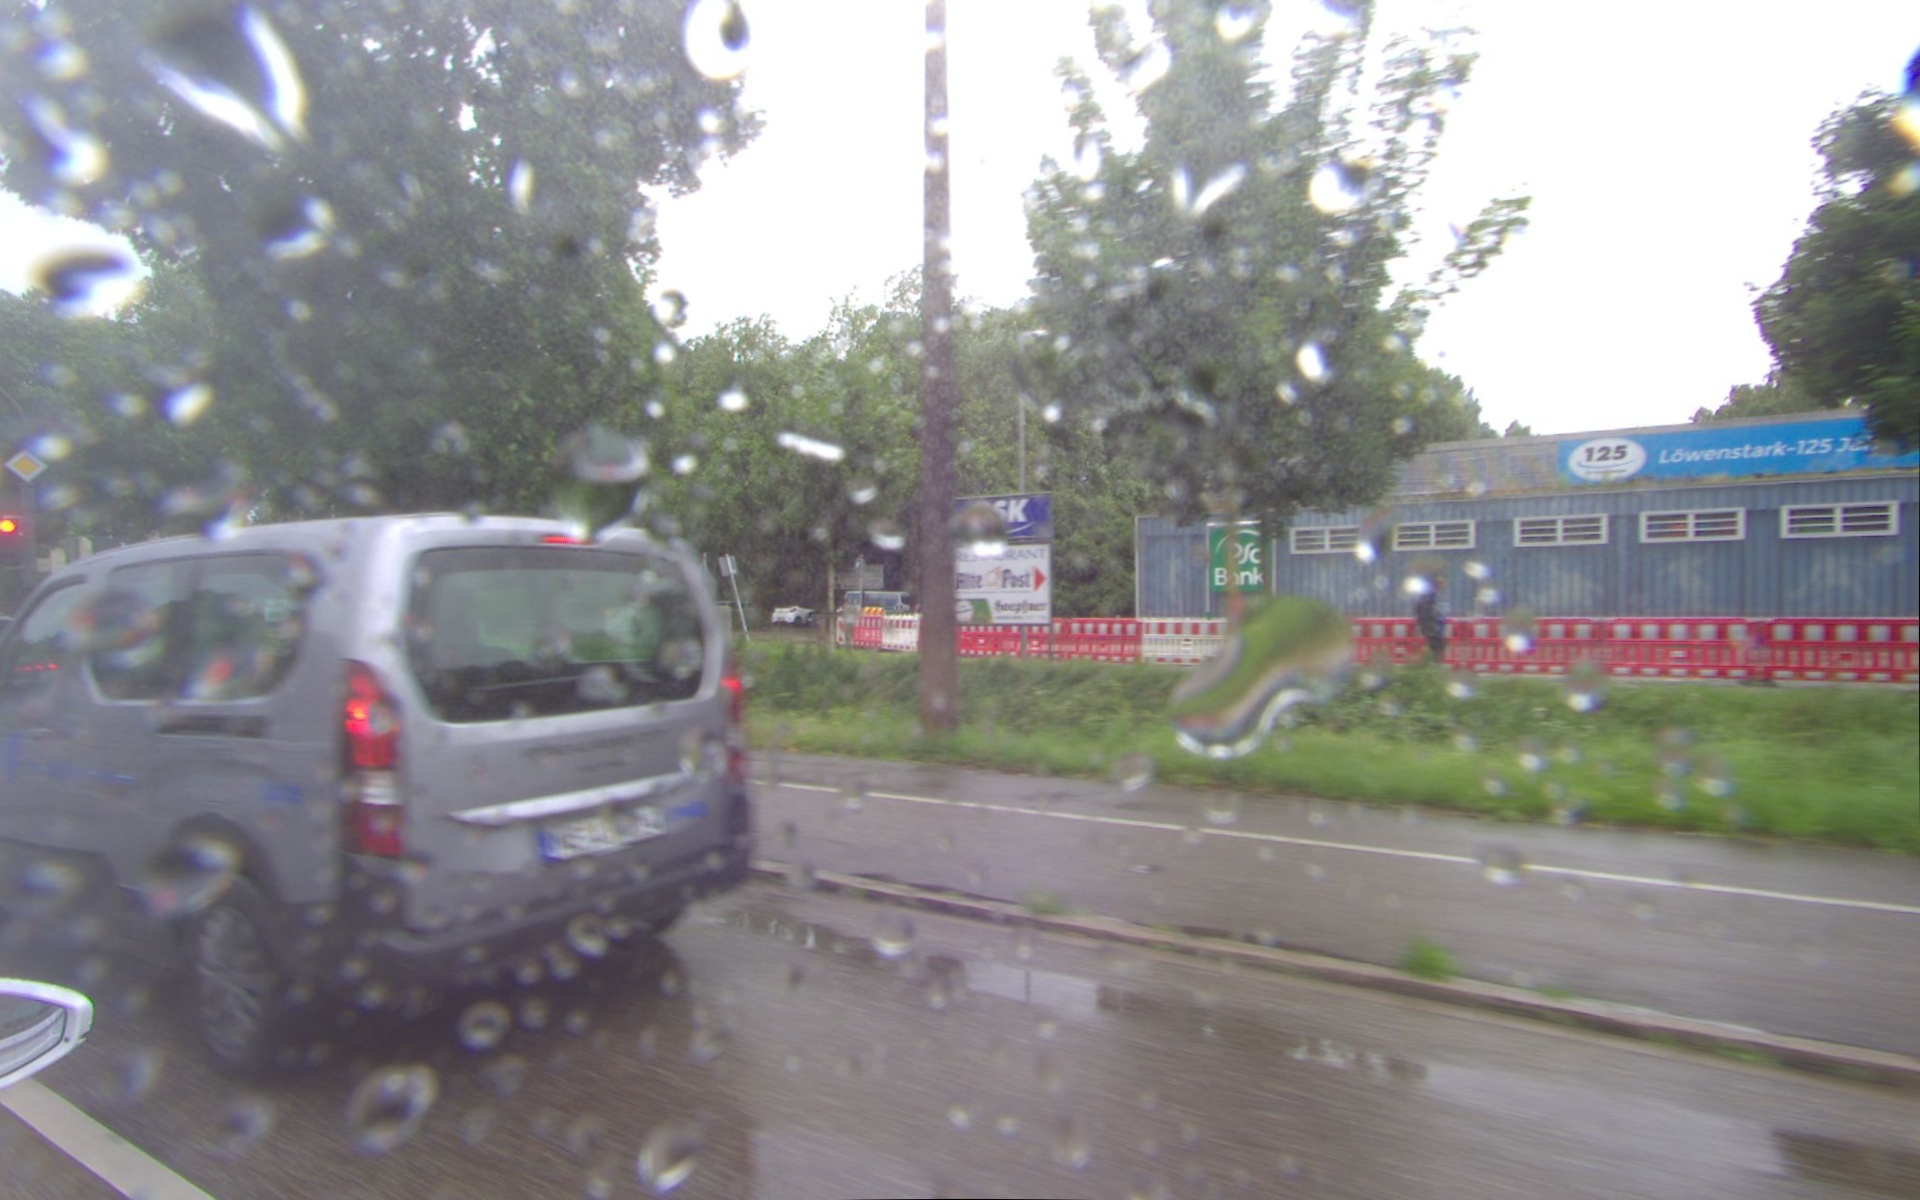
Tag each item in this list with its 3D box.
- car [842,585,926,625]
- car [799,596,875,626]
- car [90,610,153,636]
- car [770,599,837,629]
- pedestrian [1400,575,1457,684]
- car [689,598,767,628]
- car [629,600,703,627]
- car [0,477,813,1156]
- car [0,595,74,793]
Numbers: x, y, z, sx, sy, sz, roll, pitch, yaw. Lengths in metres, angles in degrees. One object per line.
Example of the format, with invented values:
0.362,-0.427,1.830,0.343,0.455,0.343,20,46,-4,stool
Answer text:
-4.036,0.315,53.504,4.146,1.989,1.911,1,-2,-38,car
-6.679,0.628,54.683,1.899,1.508,4.173,-1,-2,33,car
-48.833,1.346,58.382,1.641,1.467,3.744,1,-2,-20,car
-8.762,0.802,56.264,1.696,1.617,3.650,-1,-2,33,car
8.445,0.538,18.057,0.863,1.920,0.578,-1,-1,31,pedestrian
-13.653,0.788,59.195,1.897,1.651,4.581,-1,-2,31,car
-17.956,0.867,61.399,1.893,1.603,4.591,-1,-2,22,car
-3.061,0.631,4.739,4.497,1.819,1.990,-1,-1,32,car
-9.880,0.802,9.035,4.138,1.631,1.880,-1,-2,34,car
